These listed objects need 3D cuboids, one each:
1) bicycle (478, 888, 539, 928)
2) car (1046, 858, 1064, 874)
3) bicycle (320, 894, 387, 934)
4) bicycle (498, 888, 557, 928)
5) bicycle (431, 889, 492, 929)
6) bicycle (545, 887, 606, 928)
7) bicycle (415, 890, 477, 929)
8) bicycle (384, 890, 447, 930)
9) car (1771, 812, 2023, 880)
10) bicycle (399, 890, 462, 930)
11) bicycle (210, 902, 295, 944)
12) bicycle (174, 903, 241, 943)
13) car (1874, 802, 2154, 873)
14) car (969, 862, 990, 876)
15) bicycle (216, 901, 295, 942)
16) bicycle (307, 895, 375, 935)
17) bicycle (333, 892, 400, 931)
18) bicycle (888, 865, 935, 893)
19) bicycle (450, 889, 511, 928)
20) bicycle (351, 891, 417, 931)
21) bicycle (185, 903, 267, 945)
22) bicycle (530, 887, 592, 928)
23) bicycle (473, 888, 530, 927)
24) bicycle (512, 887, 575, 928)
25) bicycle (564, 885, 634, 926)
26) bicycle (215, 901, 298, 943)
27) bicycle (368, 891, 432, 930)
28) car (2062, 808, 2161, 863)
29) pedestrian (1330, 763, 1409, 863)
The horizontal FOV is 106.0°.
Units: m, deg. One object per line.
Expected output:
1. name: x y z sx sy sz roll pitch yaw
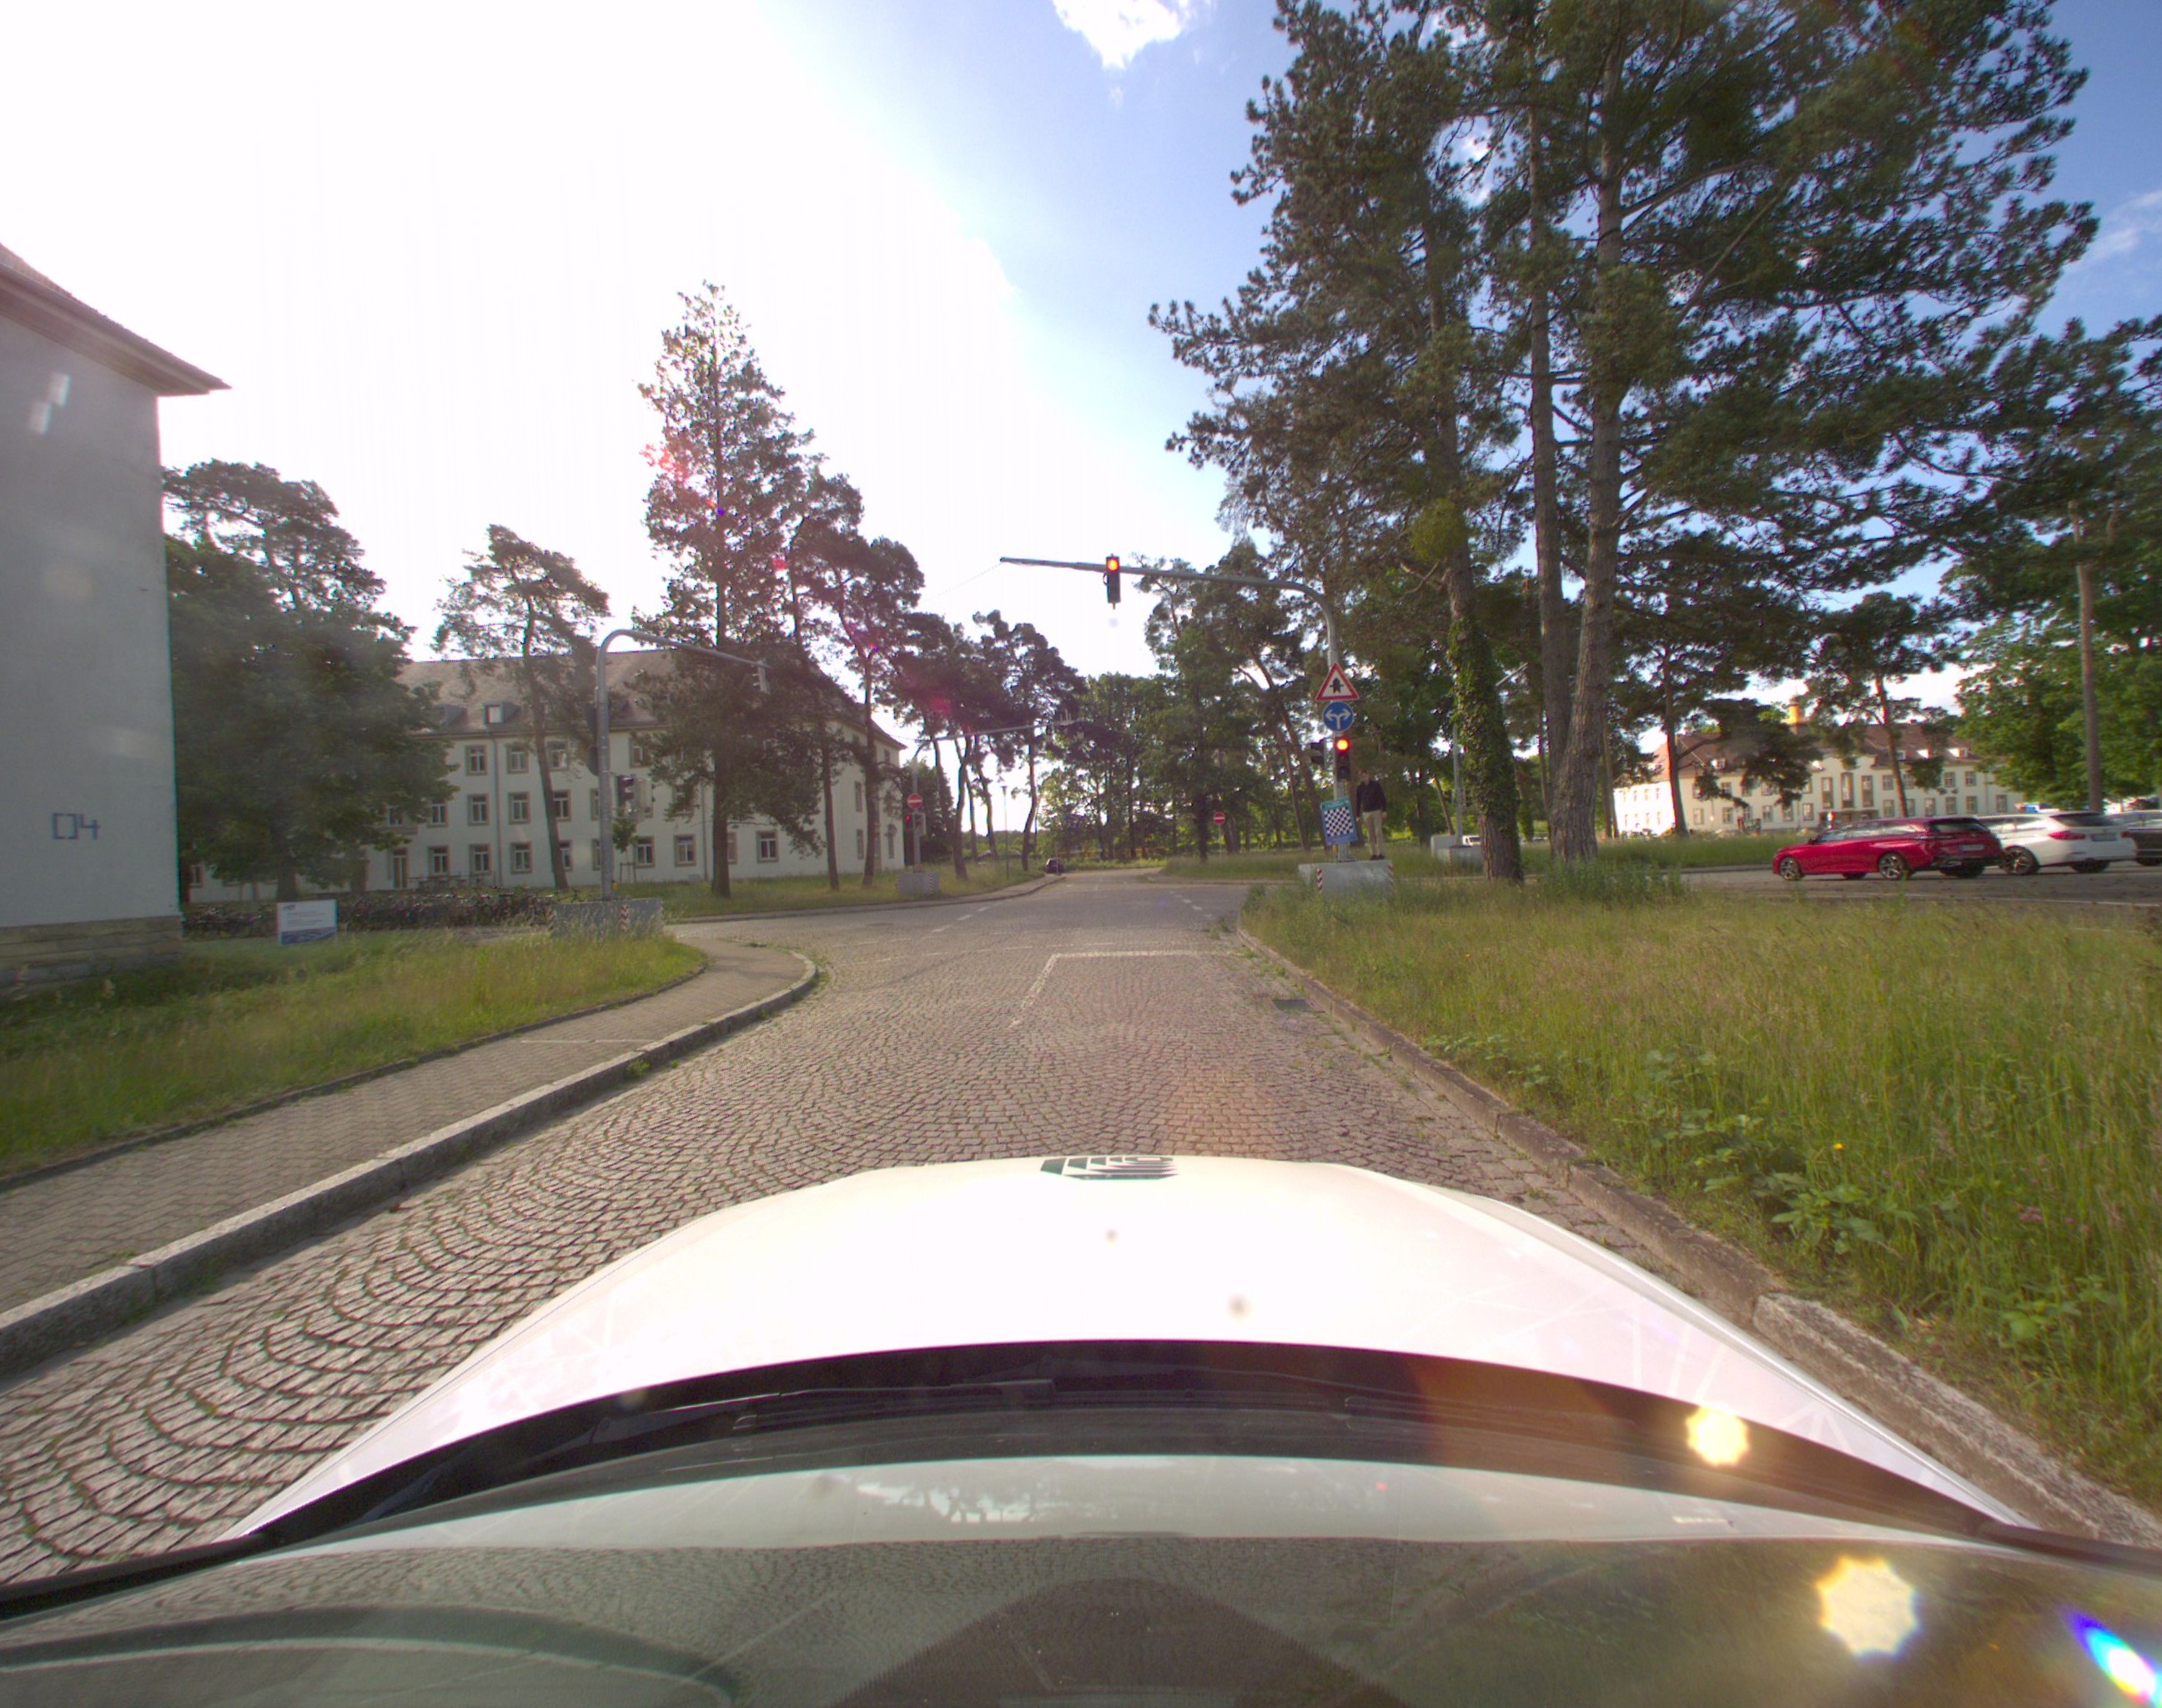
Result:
1. bicycle: -19.748 1.847 28.139 0.576 1.220 2.030 -3 0 2
2. car: -2.654 1.226 83.862 1.704 1.496 3.918 -3 0 0
3. bicycle: -25.281 2.078 28.339 0.512 1.220 1.938 -3 0 2
4. bicycle: -19.004 1.824 27.996 0.570 1.220 1.990 -3 0 2
5. bicycle: -21.476 1.891 28.270 0.512 1.220 1.978 -3 0 2
6. bicycle: -17.075 1.771 27.579 0.630 1.220 2.115 -3 0 2
7. bicycle: -21.994 1.902 28.273 0.512 1.220 1.978 -3 0 2
8. bicycle: -23.075 1.928 28.269 0.512 1.220 1.938 -3 0 2
9. car: 19.172 -0.130 19.476 1.740 1.399 4.328 -2 -1 2
10. bicycle: -22.520 1.913 28.249 0.512 1.220 1.955 -3 0 2
11. bicycle: -27.149 2.242 26.716 1.836 1.220 0.510 -3 0 -34
12. bicycle: -29.968 2.344 27.978 0.514 1.220 1.823 -3 0 -8
13. car: 21.996 -0.308 19.519 1.773 1.379 4.240 -3 -2 0
14. car: -10.524 1.543 84.807 1.704 1.274 3.918 -3 0 0
15. bicycle: -28.604 2.318 28.241 0.509 1.220 1.841 -3 0 39
16. bicycle: -25.710 2.090 28.347 0.512 1.220 1.938 -3 0 2
17. bicycle: -24.822 1.975 28.329 0.512 1.220 1.938 -3 0 2
18. bicycle: -7.173 1.061 34.547 0.627 1.066 1.963 -3 0 40
19. bicycle: -20.828 1.874 28.305 0.512 1.220 2.016 -3 0 2
20. bicycle: -24.211 1.958 28.330 0.512 1.220 1.938 -3 0 2
21. bicycle: -28.640 2.316 27.307 0.509 1.220 1.841 -3 0 39
22. bicycle: -17.558 1.785 27.578 0.630 1.220 2.125 -3 0 2
23. bicycle: -20.306 1.860 28.571 0.546 1.220 1.900 -3 0 2
24. bicycle: -18.162 1.801 27.596 0.630 1.220 2.105 -3 0 2
25. bicycle: -15.844 1.692 26.797 1.855 1.220 0.635 -3 0 1
26. bicycle: -27.531 2.246 27.232 1.836 1.220 0.510 -3 0 -34
27. bicycle: -23.620 1.942 28.301 0.512 1.220 1.938 -3 0 2
28. car: 27.146 -0.481 19.871 1.610 1.315 4.048 -4 0 3
29. pedestrian: 5.643 -0.777 15.904 1.157 1.796 1.069 -4 0 31
